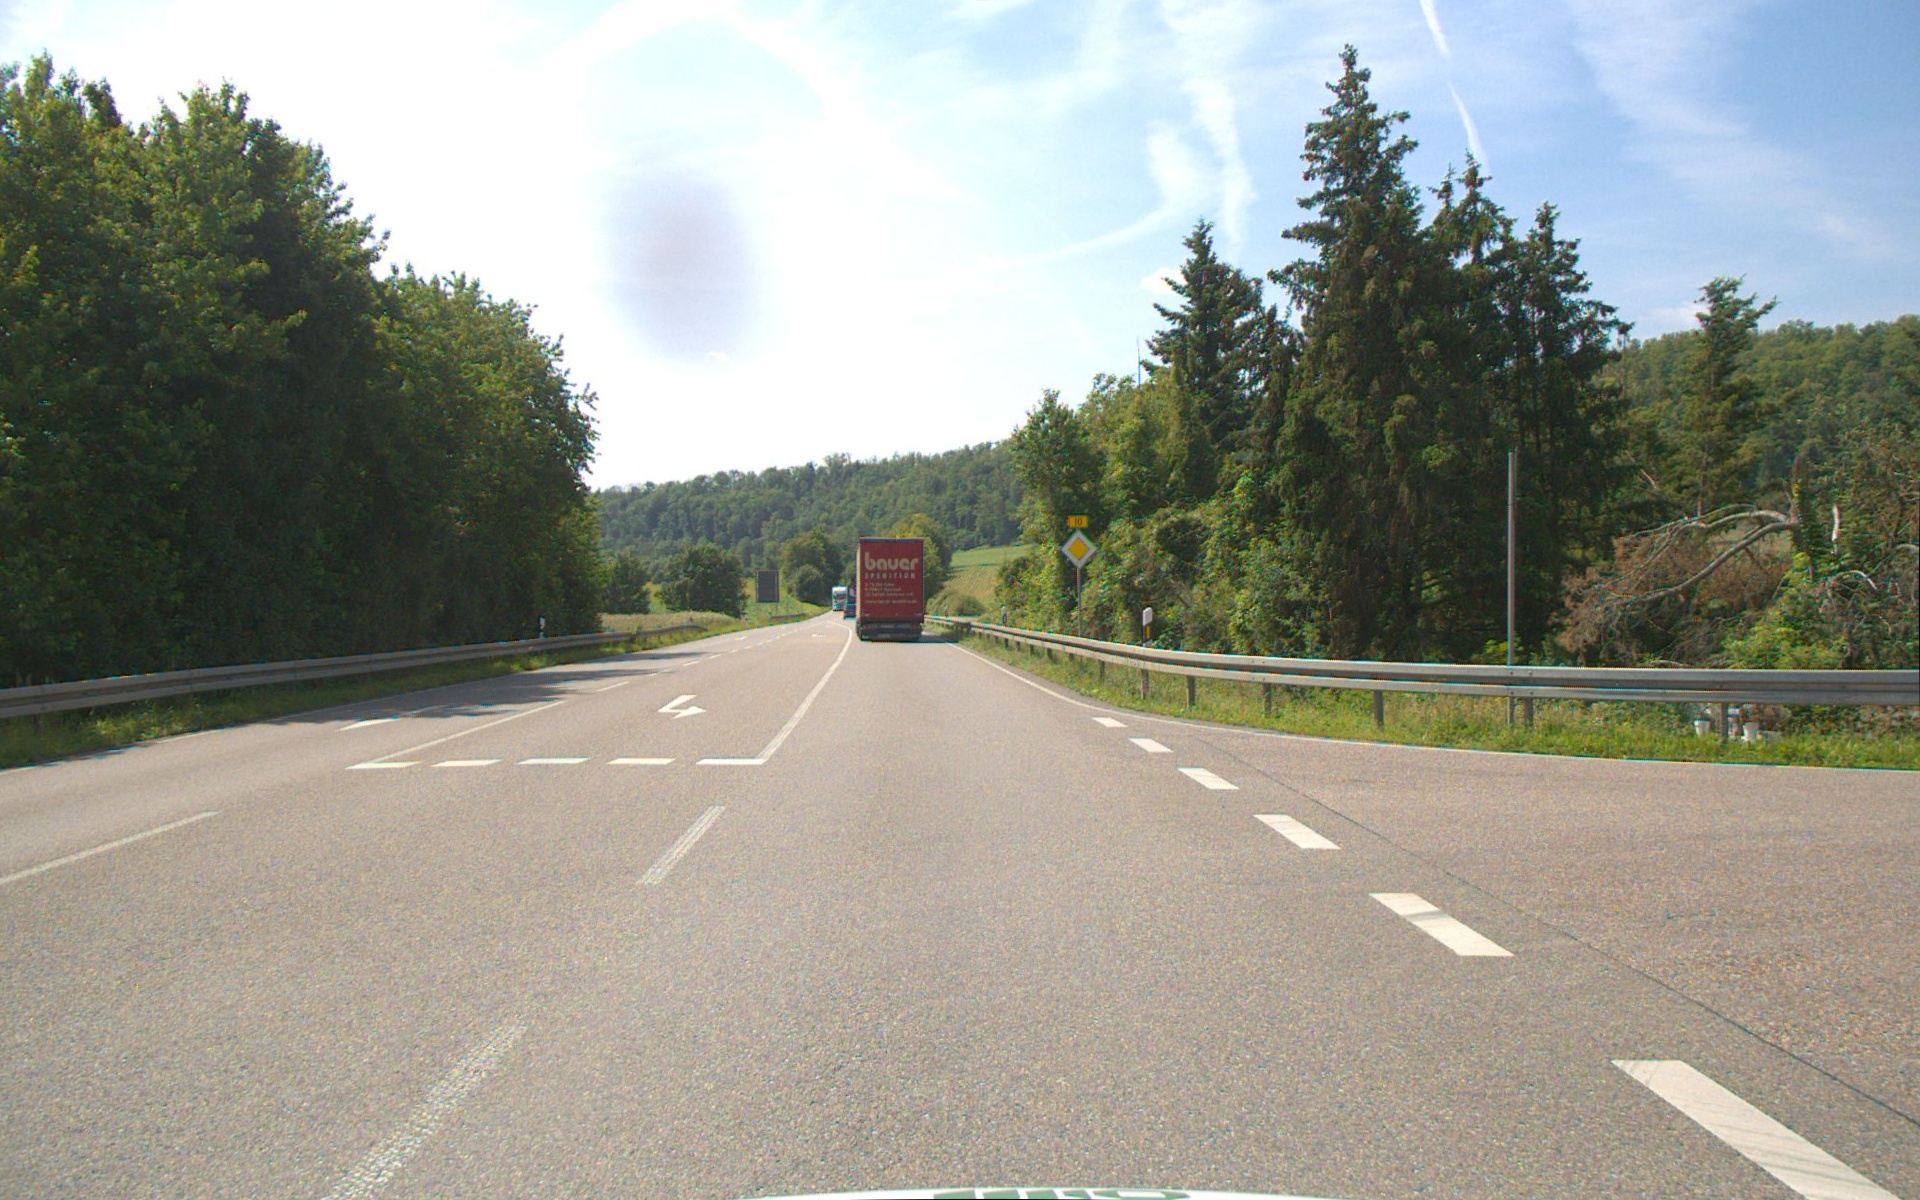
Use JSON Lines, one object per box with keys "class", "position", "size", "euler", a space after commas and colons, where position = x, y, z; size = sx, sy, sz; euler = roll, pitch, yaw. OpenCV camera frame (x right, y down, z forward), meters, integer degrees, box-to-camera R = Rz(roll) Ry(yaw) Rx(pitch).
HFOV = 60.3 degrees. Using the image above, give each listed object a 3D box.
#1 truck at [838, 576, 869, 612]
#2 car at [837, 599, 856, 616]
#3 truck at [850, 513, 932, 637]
{"class": "truck", "position": [-13.936, -0.662, 216.070], "size": [3.828, 4.446, 13.281], "euler": [1, 0, -4]}
{"class": "car", "position": [-12.699, 0.838, 184.760], "size": [1.954, 1.842, 3.996], "euler": [2, -1, -4]}
{"class": "truck", "position": [-3.061, -0.975, 70.297], "size": [3.109, 4.706, 13.533], "euler": [-1, 0, -4]}
